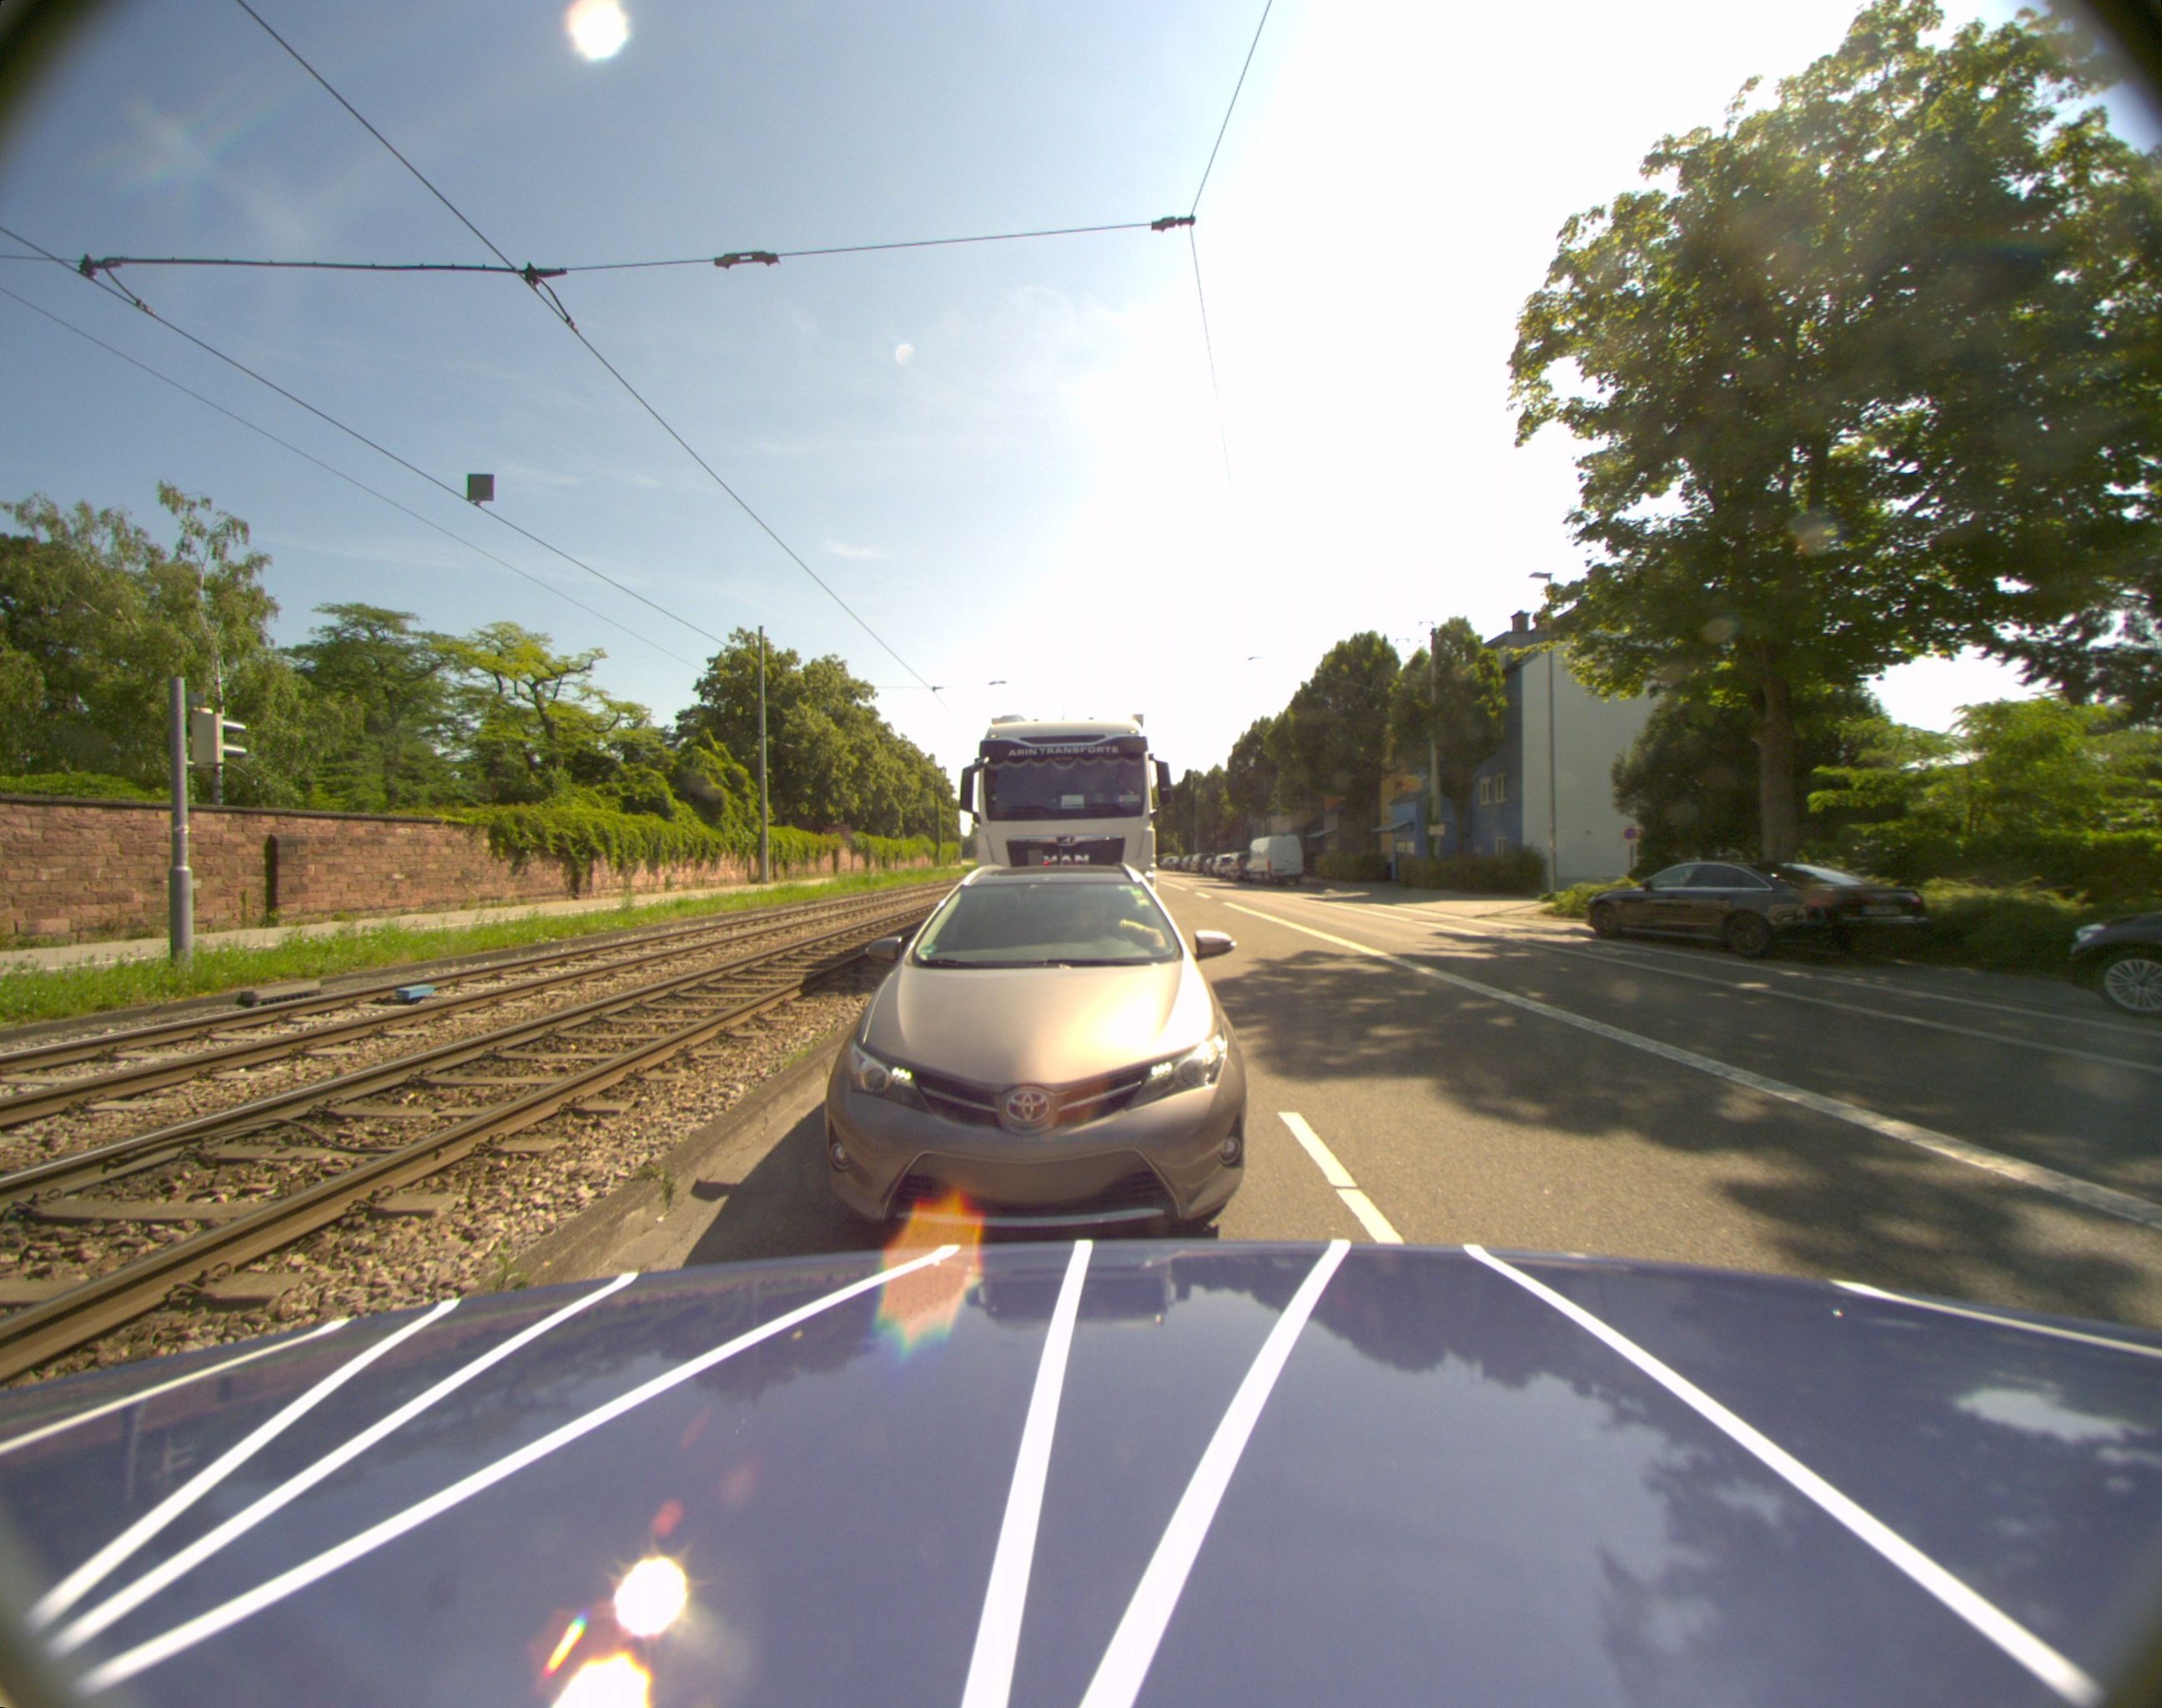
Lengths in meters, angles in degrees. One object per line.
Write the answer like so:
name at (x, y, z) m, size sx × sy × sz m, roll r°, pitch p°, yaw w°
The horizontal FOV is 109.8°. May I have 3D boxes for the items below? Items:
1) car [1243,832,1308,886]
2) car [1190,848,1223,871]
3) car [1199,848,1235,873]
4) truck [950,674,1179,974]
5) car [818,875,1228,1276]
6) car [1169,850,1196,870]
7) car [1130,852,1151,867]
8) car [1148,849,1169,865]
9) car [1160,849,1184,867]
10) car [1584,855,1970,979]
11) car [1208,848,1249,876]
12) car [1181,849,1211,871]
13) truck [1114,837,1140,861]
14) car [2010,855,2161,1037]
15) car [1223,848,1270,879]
car at (10.913, 0.252, 43.150) m, size 1.998 × 2.678 × 6.214 m, roll -6°, pitch 0°, yaw 2°
car at (11.103, 0.497, 67.672) m, size 1.998 × 1.795 × 4.769 m, roll -6°, pitch 0°, yaw 0°
car at (11.221, 0.510, 62.861) m, size 1.998 × 1.795 × 4.256 m, roll -6°, pitch 0°, yaw 0°
truck at (-0.120, -0.404, 17.222) m, size 2.935 × 3.856 × 14.912 m, roll 0°, pitch 0°, yaw 1°
car at (-0.198, 0.910, 4.924) m, size 1.573 × 1.422 × 4.000 m, roll 0°, pitch 0°, yaw 1°
car at (10.573, 0.638, 79.166) m, size 1.998 × 1.795 × 4.769 m, roll -6°, pitch 0°, yaw 0°
car at (8.280, 0.803, 105.568) m, size 1.999 × 1.795 × 5.111 m, roll -6°, pitch 0°, yaw -4°
car at (9.800, 0.389, 96.822) m, size 1.998 × 1.795 × 4.769 m, roll -6°, pitch 0°, yaw 0°
car at (10.230, 0.483, 85.910) m, size 1.998 × 1.795 × 4.769 m, roll -6°, pitch 0°, yaw 0°
car at (10.564, 0.824, 12.159) m, size 1.868 × 1.562 × 4.621 m, roll -1°, pitch 0°, yaw -2°
car at (11.058, 0.584, 57.378) m, size 1.998 × 1.795 × 4.769 m, roll -6°, pitch 0°, yaw 0°
car at (11.024, 0.562, 73.377) m, size 1.998 × 1.795 × 4.769 m, roll -6°, pitch 0°, yaw 0°
truck at (7.024, -0.672, 116.109) m, size 2.704 × 3.263 × 6.724 m, roll -6°, pitch 0°, yaw -5°
car at (10.568, 0.825, 5.569) m, size 1.868 × 1.562 × 4.621 m, roll -2°, pitch 0°, yaw 0°
car at (11.141, 0.637, 51.446) m, size 1.998 × 1.795 × 4.769 m, roll -6°, pitch 0°, yaw 0°
